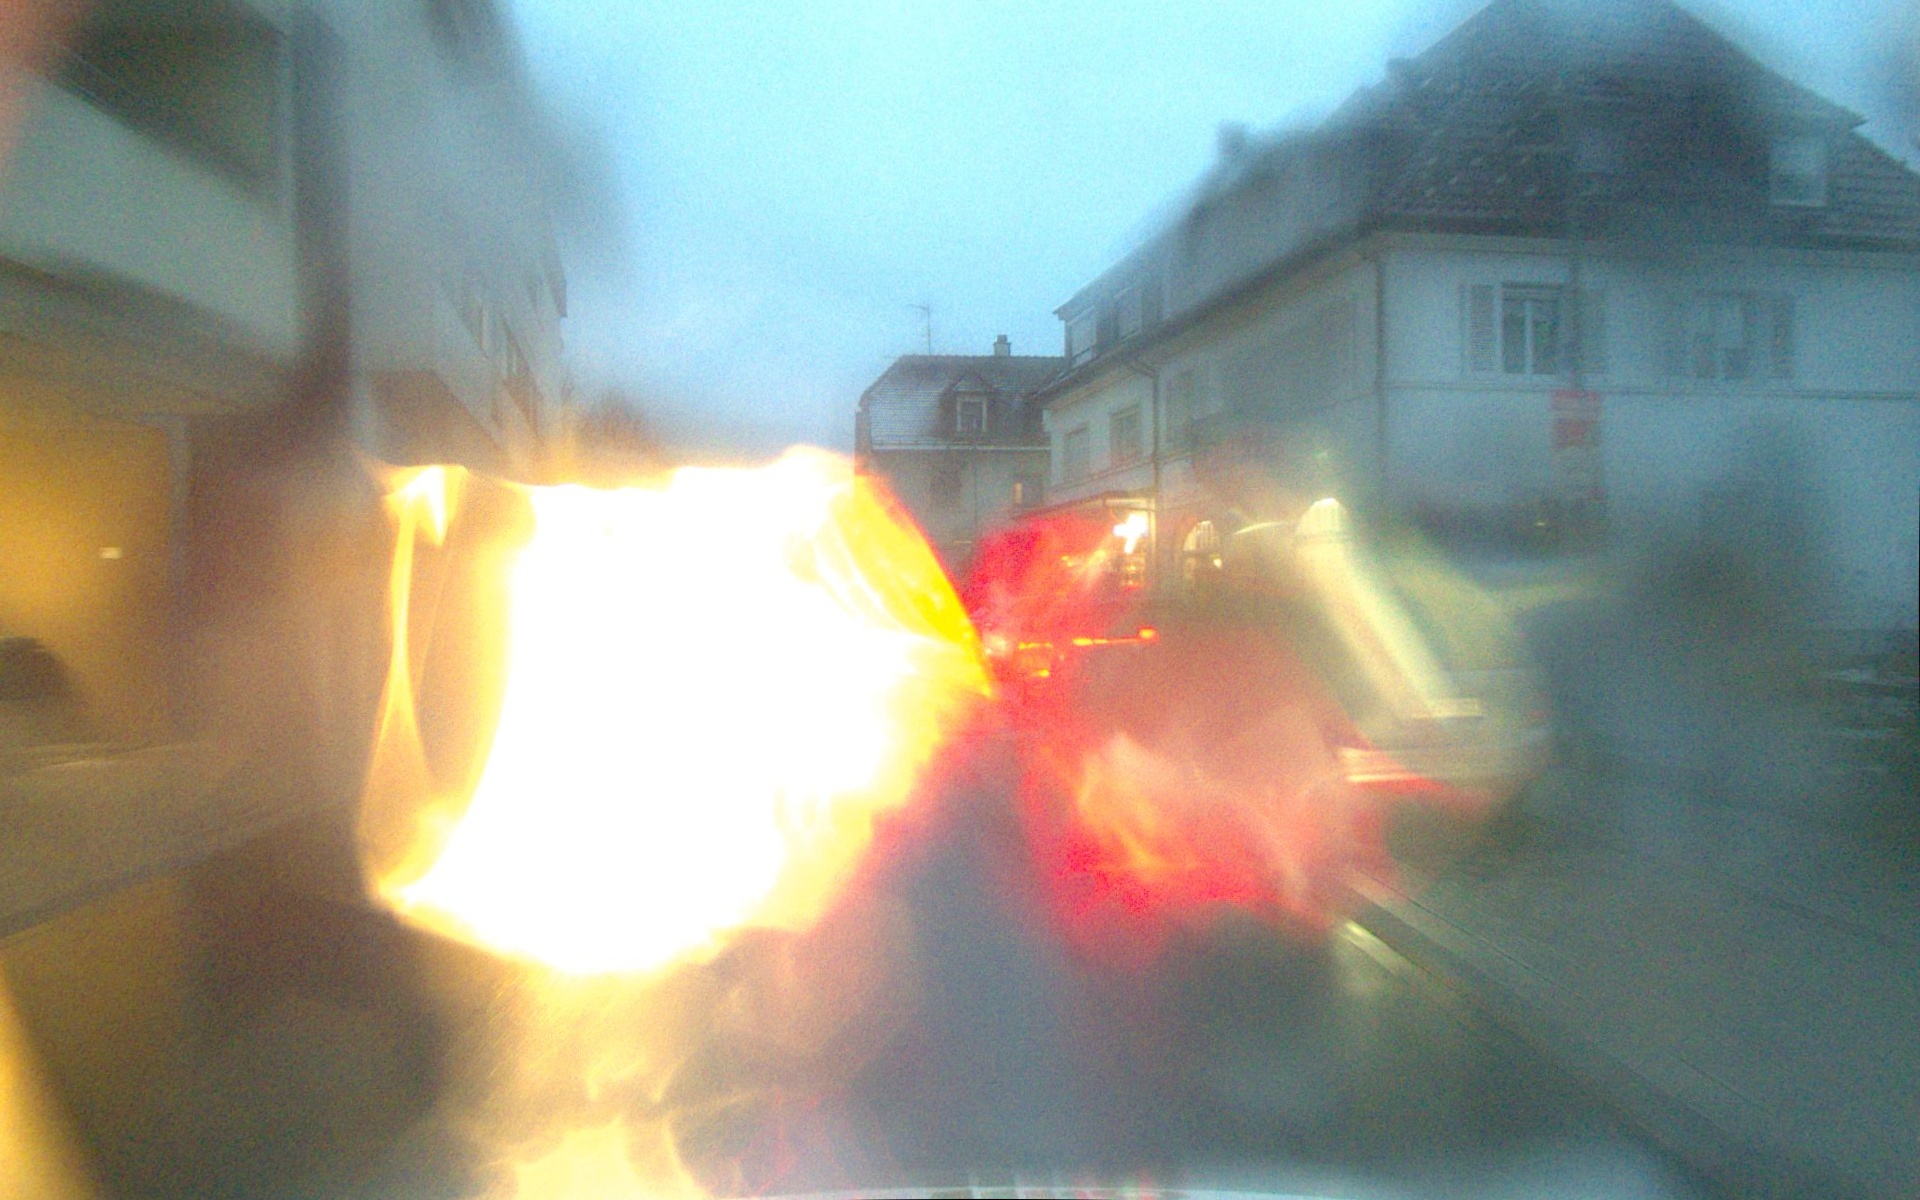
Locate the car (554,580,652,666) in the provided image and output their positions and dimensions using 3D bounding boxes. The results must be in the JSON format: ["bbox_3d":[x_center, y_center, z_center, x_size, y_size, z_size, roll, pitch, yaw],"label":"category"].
[{"bbox_3d":[-7.314,0.427,34.138,1.761,1.671,3.804,1,1,-9],"label":"car"}]

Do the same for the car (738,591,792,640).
[{"bbox_3d":[-6.367,0.477,53.834,1.608,1.507,3.264,1,0,-9],"label":"car"}]

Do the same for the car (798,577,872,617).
[{"bbox_3d":[-6.834,-0.166,90.695,4.015,2.200,1.912,0,0,-3],"label":"car"}]

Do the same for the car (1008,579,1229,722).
[{"bbox_3d":[1.885,0.548,21.208,1.846,1.574,4.664,-2,1,-7],"label":"car"}]

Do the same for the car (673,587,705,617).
[{"bbox_3d":[-14.491,0.103,88.517,1.607,1.562,3.399,0,0,-9],"label":"car"}]

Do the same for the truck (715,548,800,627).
[{"bbox_3d":[-8.769,-0.528,70.713,2.962,3.183,7.977,0,0,-12],"label":"truck"}]

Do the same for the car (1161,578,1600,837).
[{"bbox_3d":[2.828,0.635,12.250,1.759,1.486,4.526,-2,0,-4],"label":"car"}]

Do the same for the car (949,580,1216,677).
[{"bbox_3d":[2.145,0.470,29.468,4.387,1.499,1.893,-2,1,-11],"label":"car"}]

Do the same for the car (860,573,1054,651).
[{"bbox_3d":[-0.090,0.282,41.405,4.526,1.807,1.938,-1,1,-14],"label":"car"}]

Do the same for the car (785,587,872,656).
[{"bbox_3d":[-3.041,0.467,37.783,1.609,1.507,3.370,1,0,-11],"label":"car"}]
